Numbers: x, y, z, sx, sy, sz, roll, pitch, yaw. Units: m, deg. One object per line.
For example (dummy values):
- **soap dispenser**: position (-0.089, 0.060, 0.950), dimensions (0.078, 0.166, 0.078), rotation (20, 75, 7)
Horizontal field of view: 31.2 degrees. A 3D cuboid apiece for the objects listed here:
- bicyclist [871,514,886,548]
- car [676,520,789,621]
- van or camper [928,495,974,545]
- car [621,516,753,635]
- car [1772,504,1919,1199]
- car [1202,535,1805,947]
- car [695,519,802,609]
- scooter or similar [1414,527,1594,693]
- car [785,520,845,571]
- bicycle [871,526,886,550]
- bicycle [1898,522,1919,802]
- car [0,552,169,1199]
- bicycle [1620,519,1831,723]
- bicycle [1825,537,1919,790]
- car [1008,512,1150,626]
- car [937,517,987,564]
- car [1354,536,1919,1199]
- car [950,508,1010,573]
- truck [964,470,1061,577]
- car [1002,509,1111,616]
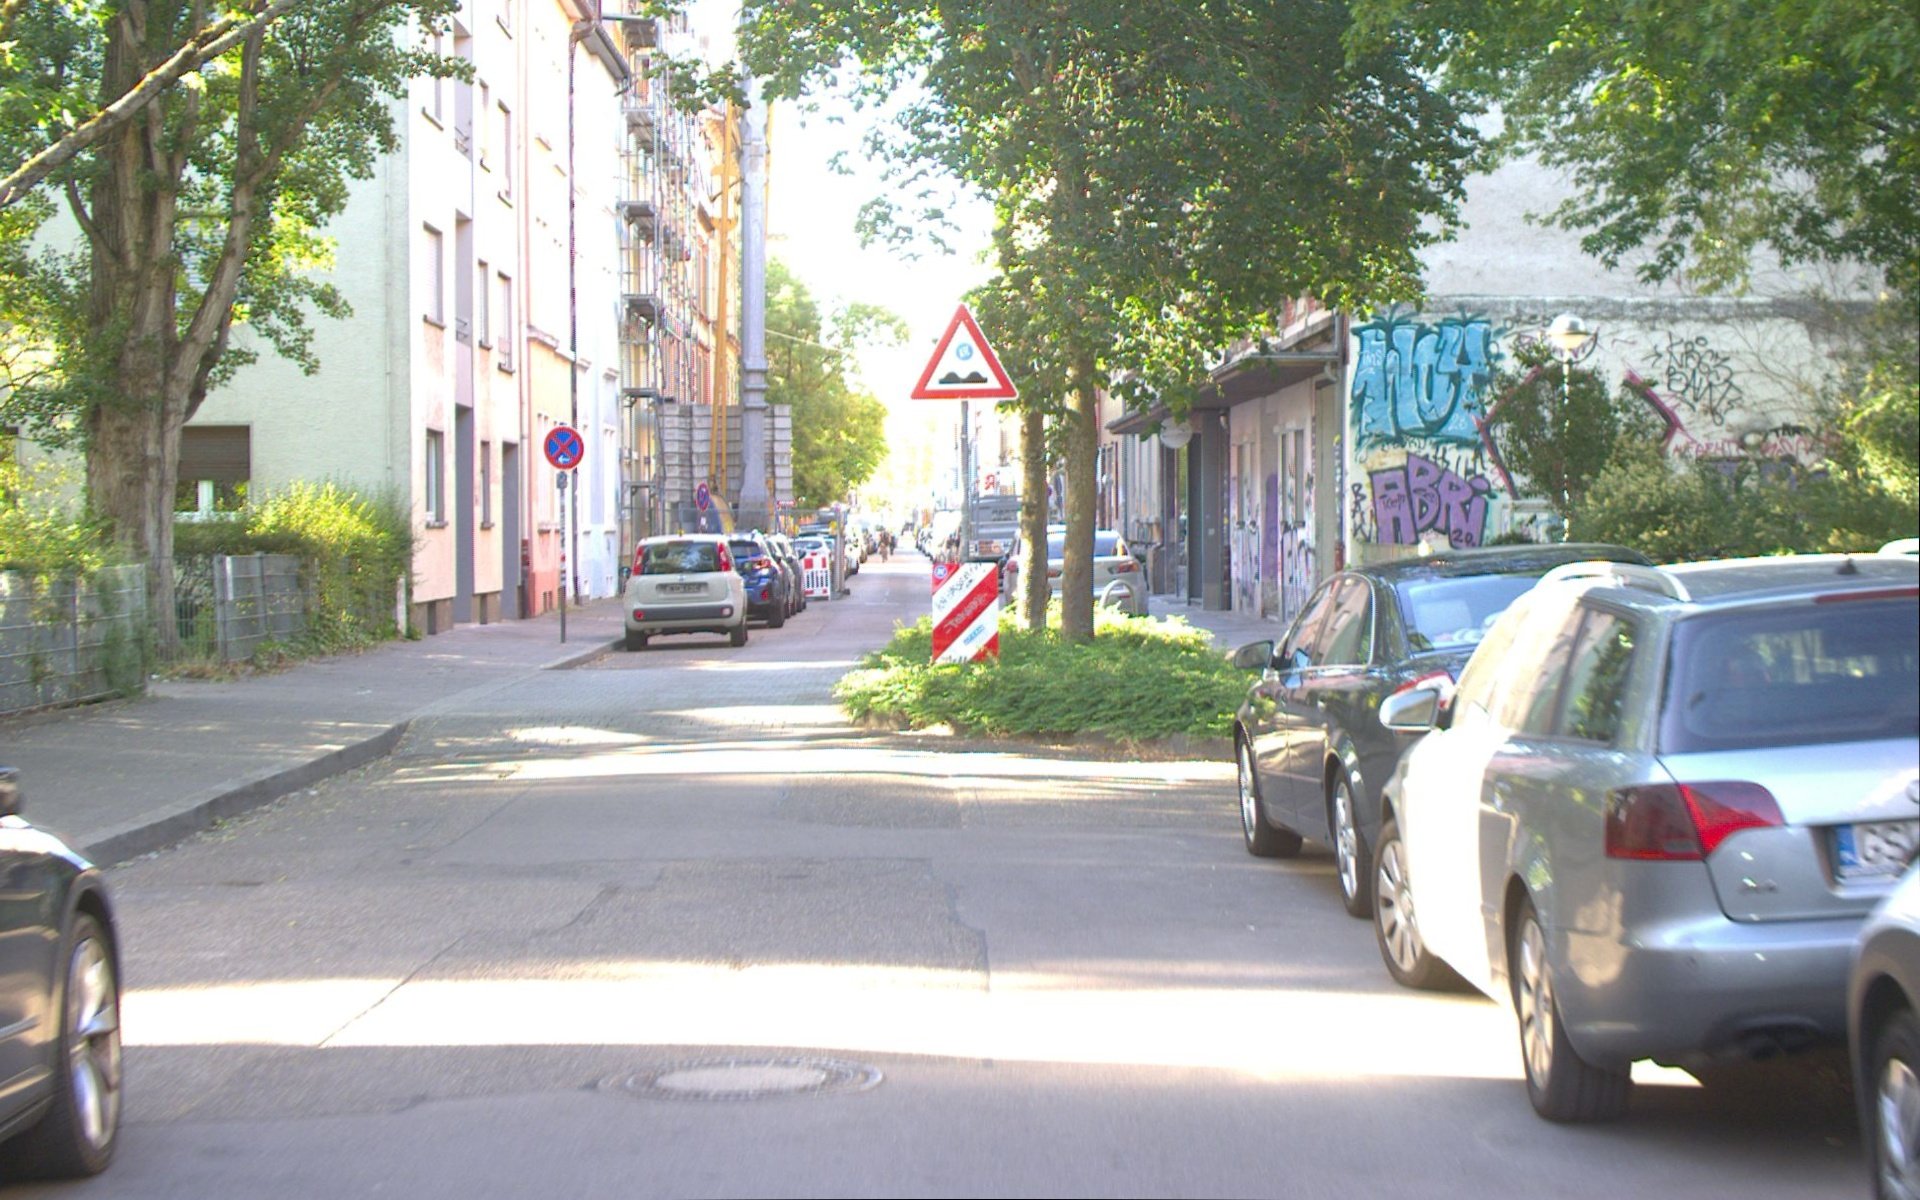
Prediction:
- **bicyclist**: position (-4.201, -3.569, 176.979), dimensions (0.730, 1.755, 0.835), rotation (0, 2, 0)
- **car**: position (-3.715, -0.508, 56.499), dimensions (1.729, 1.534, 4.378), rotation (-2, 1, -3)
- **van or camper**: position (-0.482, -4.131, 178.038), dimensions (1.993, 2.499, 4.203), rotation (-2, 1, -5)
- **car**: position (-3.736, -0.357, 47.563), dimensions (1.674, 1.534, 3.870), rotation (-2, 1, -3)
- **car**: position (2.511, 0.631, 5.234), dimensions (1.593, 1.580, 3.764), rotation (-1, 1, -1)
- **car**: position (2.211, 0.488, 15.178), dimensions (1.720, 1.488, 4.415), rotation (-2, 1, -3)
- **car**: position (-3.744, -0.676, 61.501), dimensions (1.675, 1.506, 4.415), rotation (-2, 1, -1)
- **scooter or similar**: position (4.297, 0.071, 27.229), dimensions (0.544, 1.257, 1.473), rotation (-3, 1, -32)
- **car**: position (-4.258, -1.592, 100.650), dimensions (1.674, 1.440, 3.870), rotation (-1, 1, -3)
- **bicycle**: position (-4.210, -3.208, 176.959), dimensions (0.724, 1.182, 2.043), rotation (0, 2, -1)
- **bicycle**: position (5.051, 0.287, 15.022), dimensions (1.291, 1.297, 2.327), rotation (-3, 1, 2)
- **car**: position (-2.895, 0.689, 6.505), dimensions (1.779, 1.438, 4.393), rotation (-3, 1, -1)
- **bicycle**: position (5.118, 0.102, 23.162), dimensions (0.847, 1.263, 2.692), rotation (-1, 2, 1)
- **bicycle**: position (5.110, 0.290, 17.668), dimensions (0.847, 1.196, 1.982), rotation (-1, 2, 1)
- **car**: position (1.660, -0.468, 49.316), dimensions (1.721, 1.557, 4.399), rotation (0, 1, -2)
- **car**: position (0.070, -2.591, 149.439), dimensions (1.993, 2.007, 4.001), rotation (-1, 1, -2)
- **car**: position (2.256, 0.575, 10.039), dimensions (1.659, 1.488, 4.354), rotation (-1, 1, -1)
- **car**: position (0.636, -1.931, 111.526), dimensions (1.674, 2.024, 3.870), rotation (-1, 1, -3)
- **truck**: position (1.320, -1.969, 88.526), dimensions (2.189, 2.598, 5.235), rotation (-2, 1, -2)
- **car**: position (1.528, -0.620, 55.643), dimensions (1.640, 1.650, 3.869), rotation (0, 1, 0)
